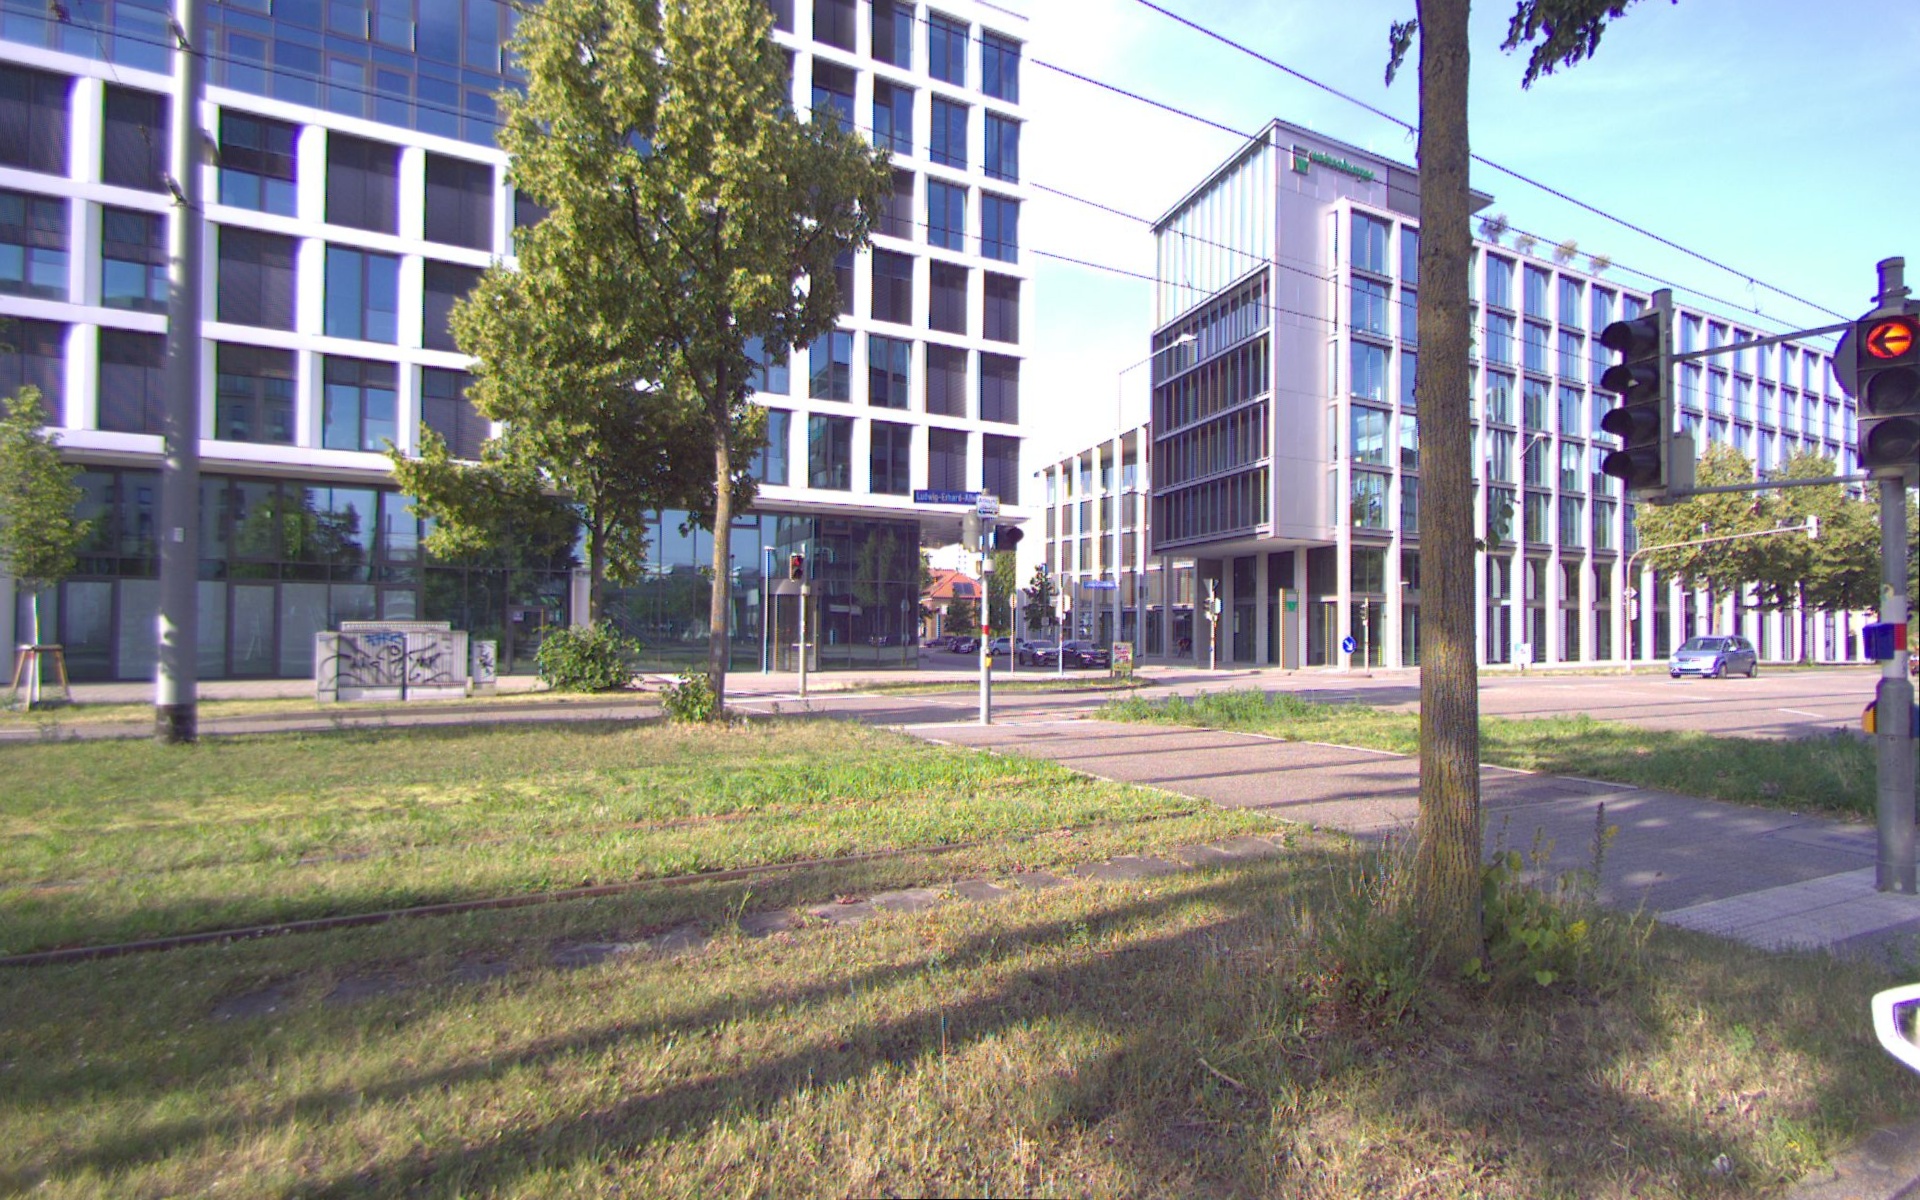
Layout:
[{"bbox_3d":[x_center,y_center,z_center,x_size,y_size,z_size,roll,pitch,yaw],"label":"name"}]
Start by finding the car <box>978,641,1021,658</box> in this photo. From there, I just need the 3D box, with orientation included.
[{"bbox_3d":[3.498,4.380,89.180,3.535,1.313,1.524,2,0,-14],"label":"car"}]

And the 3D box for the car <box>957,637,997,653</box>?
[{"bbox_3d":[1.644,4.335,96.521,3.614,1.416,1.550,2,0,-14],"label":"car"}]

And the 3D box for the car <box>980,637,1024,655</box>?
[{"bbox_3d":[3.630,3.952,86.603,3.535,1.417,1.524,2,0,-14],"label":"car"}]

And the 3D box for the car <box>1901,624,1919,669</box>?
[{"bbox_3d":[40.358,1.926,41.202,3.841,1.799,1.674,2,0,-33],"label":"car"}]

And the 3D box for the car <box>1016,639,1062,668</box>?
[{"bbox_3d":[4.529,3.094,58.133,1.549,1.443,3.668,2,0,-14],"label":"car"}]

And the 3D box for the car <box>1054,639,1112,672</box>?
[{"bbox_3d":[6.217,2.822,51.236,1.551,1.443,3.498,2,0,-19],"label":"car"}]

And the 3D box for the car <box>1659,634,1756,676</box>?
[{"bbox_3d":[27.925,2.033,37.500,3.913,1.462,1.629,2,0,-33],"label":"car"}]
